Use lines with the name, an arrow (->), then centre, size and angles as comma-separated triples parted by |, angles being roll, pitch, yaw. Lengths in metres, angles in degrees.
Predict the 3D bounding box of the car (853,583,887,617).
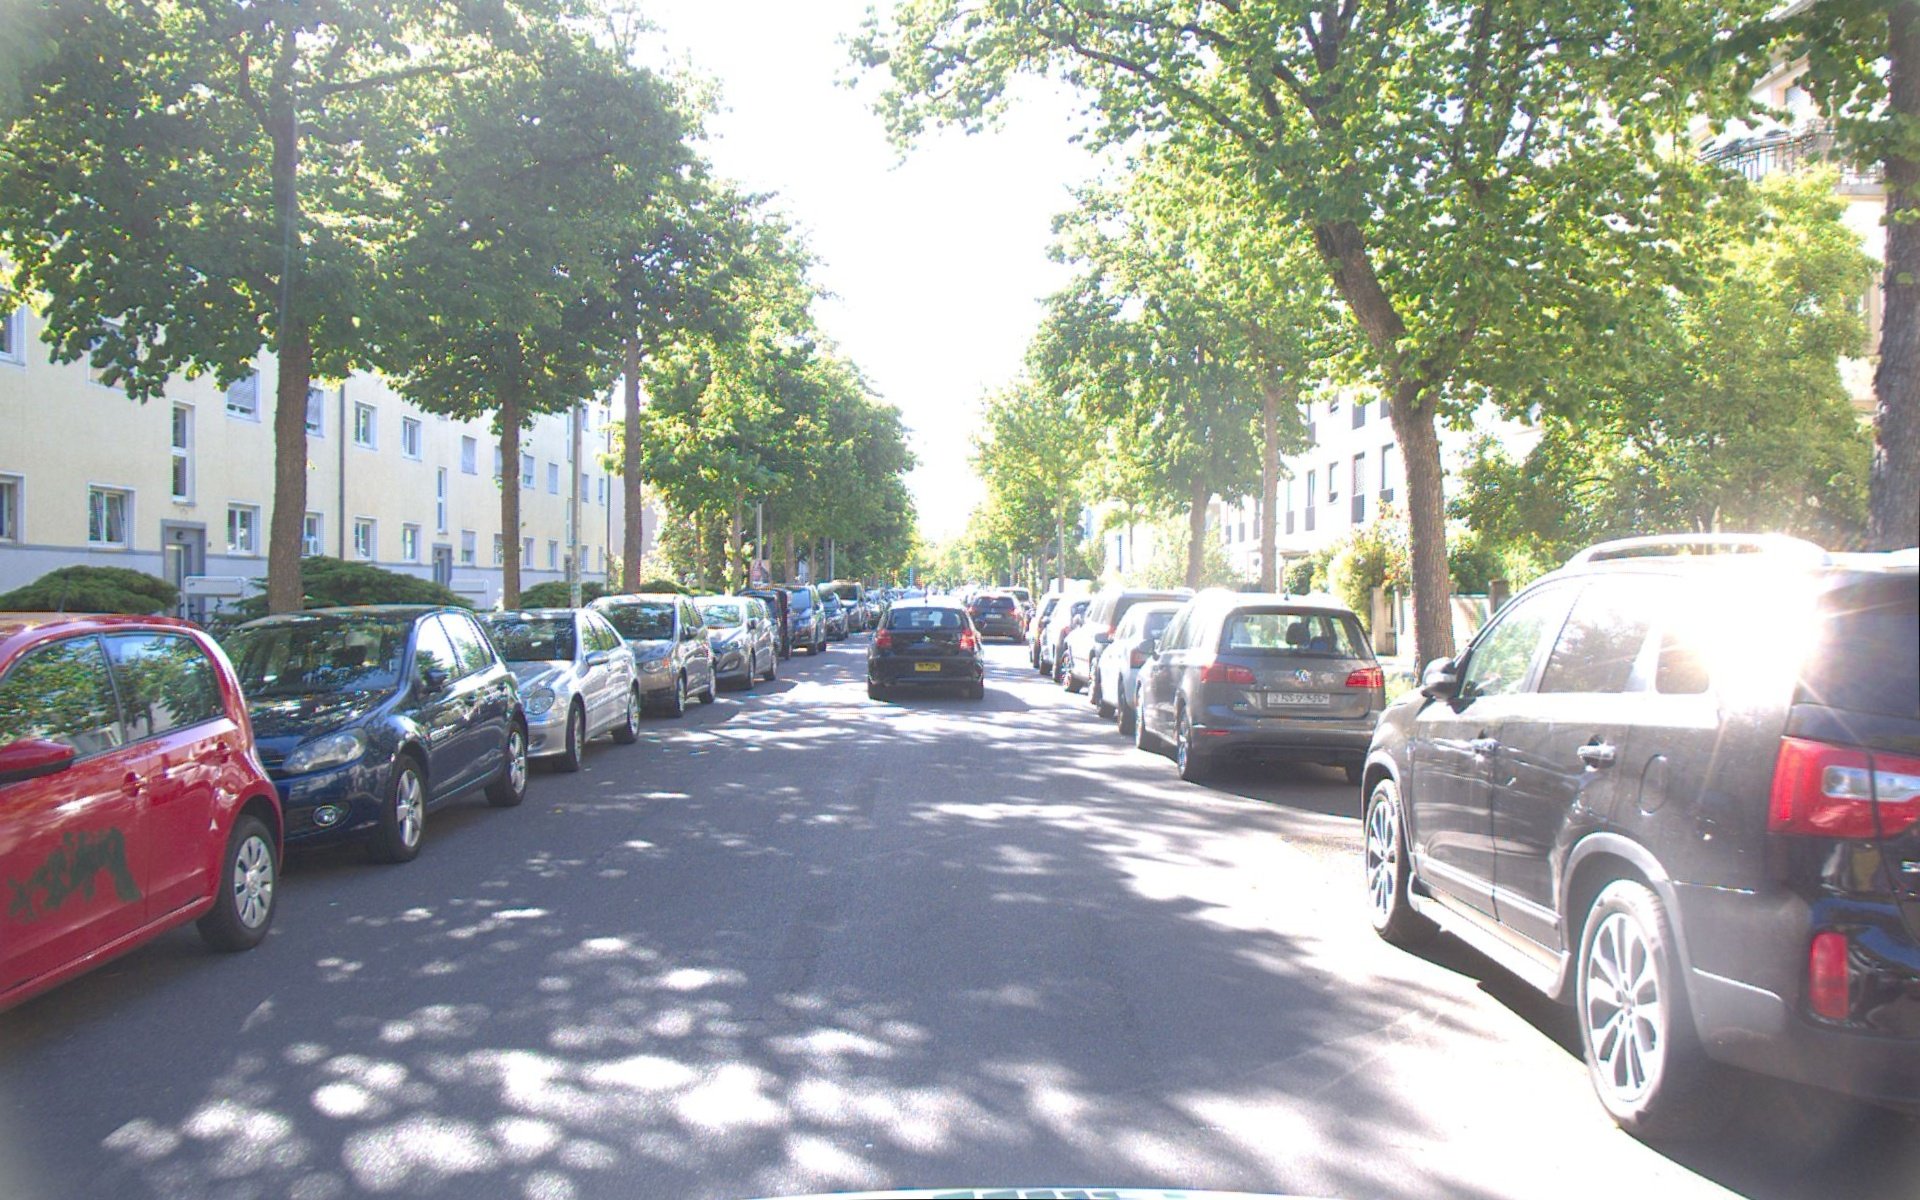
car -> -4.628, -0.020, 85.190 | 1.579, 1.708, 4.233 | -1, 0, -1

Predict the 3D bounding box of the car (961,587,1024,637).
car -> 0.962, 0.328, 50.826 | 1.617, 1.450, 3.998 | -1, 1, -3

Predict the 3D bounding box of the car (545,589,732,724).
car -> -4.185, 0.670, 22.144 | 1.587, 1.542, 4.269 | -2, 0, 0

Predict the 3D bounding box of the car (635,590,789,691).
car -> -4.051, 0.613, 27.761 | 1.755, 1.469, 4.689 | -2, 1, 1

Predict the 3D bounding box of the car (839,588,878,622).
car -> -4.543, 0.223, 74.657 | 1.579, 1.452, 4.057 | -1, 0, -1

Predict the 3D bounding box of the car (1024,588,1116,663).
car -> 2.267, 0.493, 34.955 | 1.603, 1.480, 4.099 | 0, 1, -1

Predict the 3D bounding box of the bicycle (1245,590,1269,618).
bicycle -> 11.794, 0.156, 65.669 | 0.535, 1.073, 1.779 | -1, 0, -3

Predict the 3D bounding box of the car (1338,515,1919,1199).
car -> 2.840, 0.622, 6.281 | 1.744, 1.728, 4.297 | -1, 1, -1

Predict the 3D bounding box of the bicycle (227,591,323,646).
bicycle -> -14.913, 0.406, 36.018 | 1.803, 1.100, 0.486 | 2, -3, -5

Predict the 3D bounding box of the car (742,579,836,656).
car -> -4.194, 0.381, 41.259 | 1.812, 1.710, 4.976 | -3, 1, -1

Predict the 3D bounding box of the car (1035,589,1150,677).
car -> 2.334, 0.548, 29.894 | 1.616, 1.453, 3.611 | -1, 1, -3

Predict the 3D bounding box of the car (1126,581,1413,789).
car -> 2.717, 0.662, 15.540 | 1.650, 1.615, 4.534 | 2, 0, -2

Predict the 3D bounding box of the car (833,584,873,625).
car -> -4.463, 0.164, 69.349 | 1.580, 1.639, 4.227 | -1, 0, -3

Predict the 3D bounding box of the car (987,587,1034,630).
car -> 2.022, 0.345, 66.721 | 1.810, 1.659, 4.411 | 1, 0, 1

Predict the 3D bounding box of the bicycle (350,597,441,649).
bicycle -> -12.320, 0.493, 36.098 | 1.803, 1.100, 0.486 | 0, 0, -4

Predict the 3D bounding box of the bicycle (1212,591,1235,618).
bicycle -> 10.458, 0.168, 65.609 | 0.535, 1.073, 1.690 | -1, 0, -3

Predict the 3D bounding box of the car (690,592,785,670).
car -> -4.334, 0.564, 32.601 | 1.490, 1.419, 3.725 | 0, 0, -2

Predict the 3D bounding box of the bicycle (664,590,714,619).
bicycle -> -11.843, 0.179, 72.187 | 2.107, 1.230, 0.688 | -1, 0, -12

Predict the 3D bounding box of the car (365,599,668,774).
car -> -4.130, 0.726, 16.207 | 1.710, 1.392, 4.674 | -1, 0, 0

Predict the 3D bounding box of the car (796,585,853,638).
car -> -4.320, 0.337, 53.214 | 1.477, 1.575, 4.777 | -2, 0, -1

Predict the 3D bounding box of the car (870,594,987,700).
car -> -0.467, 0.643, 24.702 | 1.616, 1.421, 3.411 | -1, 1, -1

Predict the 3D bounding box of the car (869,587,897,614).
car -> -4.758, 0.009, 102.415 | 1.579, 1.570, 3.865 | -1, 0, -1

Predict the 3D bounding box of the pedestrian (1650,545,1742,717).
pedestrian -> 7.955, 0.325, 17.898 | 0.609, 1.806, 0.799 | -1, 0, -1

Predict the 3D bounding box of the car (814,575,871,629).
car -> -4.487, 0.053, 63.830 | 1.789, 1.938, 5.142 | -2, 0, 0

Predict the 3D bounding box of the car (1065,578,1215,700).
car -> 2.613, 0.516, 24.778 | 1.616, 1.684, 3.844 | 0, 0, -4

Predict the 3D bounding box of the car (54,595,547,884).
car -> -3.984, 0.735, 10.732 | 1.631, 1.484, 3.932 | 0, 1, 0

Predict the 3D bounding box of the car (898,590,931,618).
car -> -2.408, 0.179, 87.292 | 1.474, 1.451, 3.179 | 0, 0, 3

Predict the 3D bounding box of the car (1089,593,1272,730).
car -> 2.564, 0.657, 20.134 | 1.596, 1.450, 4.368 | -1, 0, 0

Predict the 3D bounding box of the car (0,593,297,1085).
car -> -3.810, 0.749, 5.835 | 1.631, 1.512, 3.256 | 0, 1, 0

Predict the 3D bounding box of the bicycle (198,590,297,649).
bicycle -> -14.757, 0.403, 34.286 | 1.801, 1.166, 0.487 | 2, -1, 2

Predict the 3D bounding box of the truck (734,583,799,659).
truck -> -4.264, 0.442, 36.627 | 1.061, 1.605, 2.432 | 0, 1, 2
